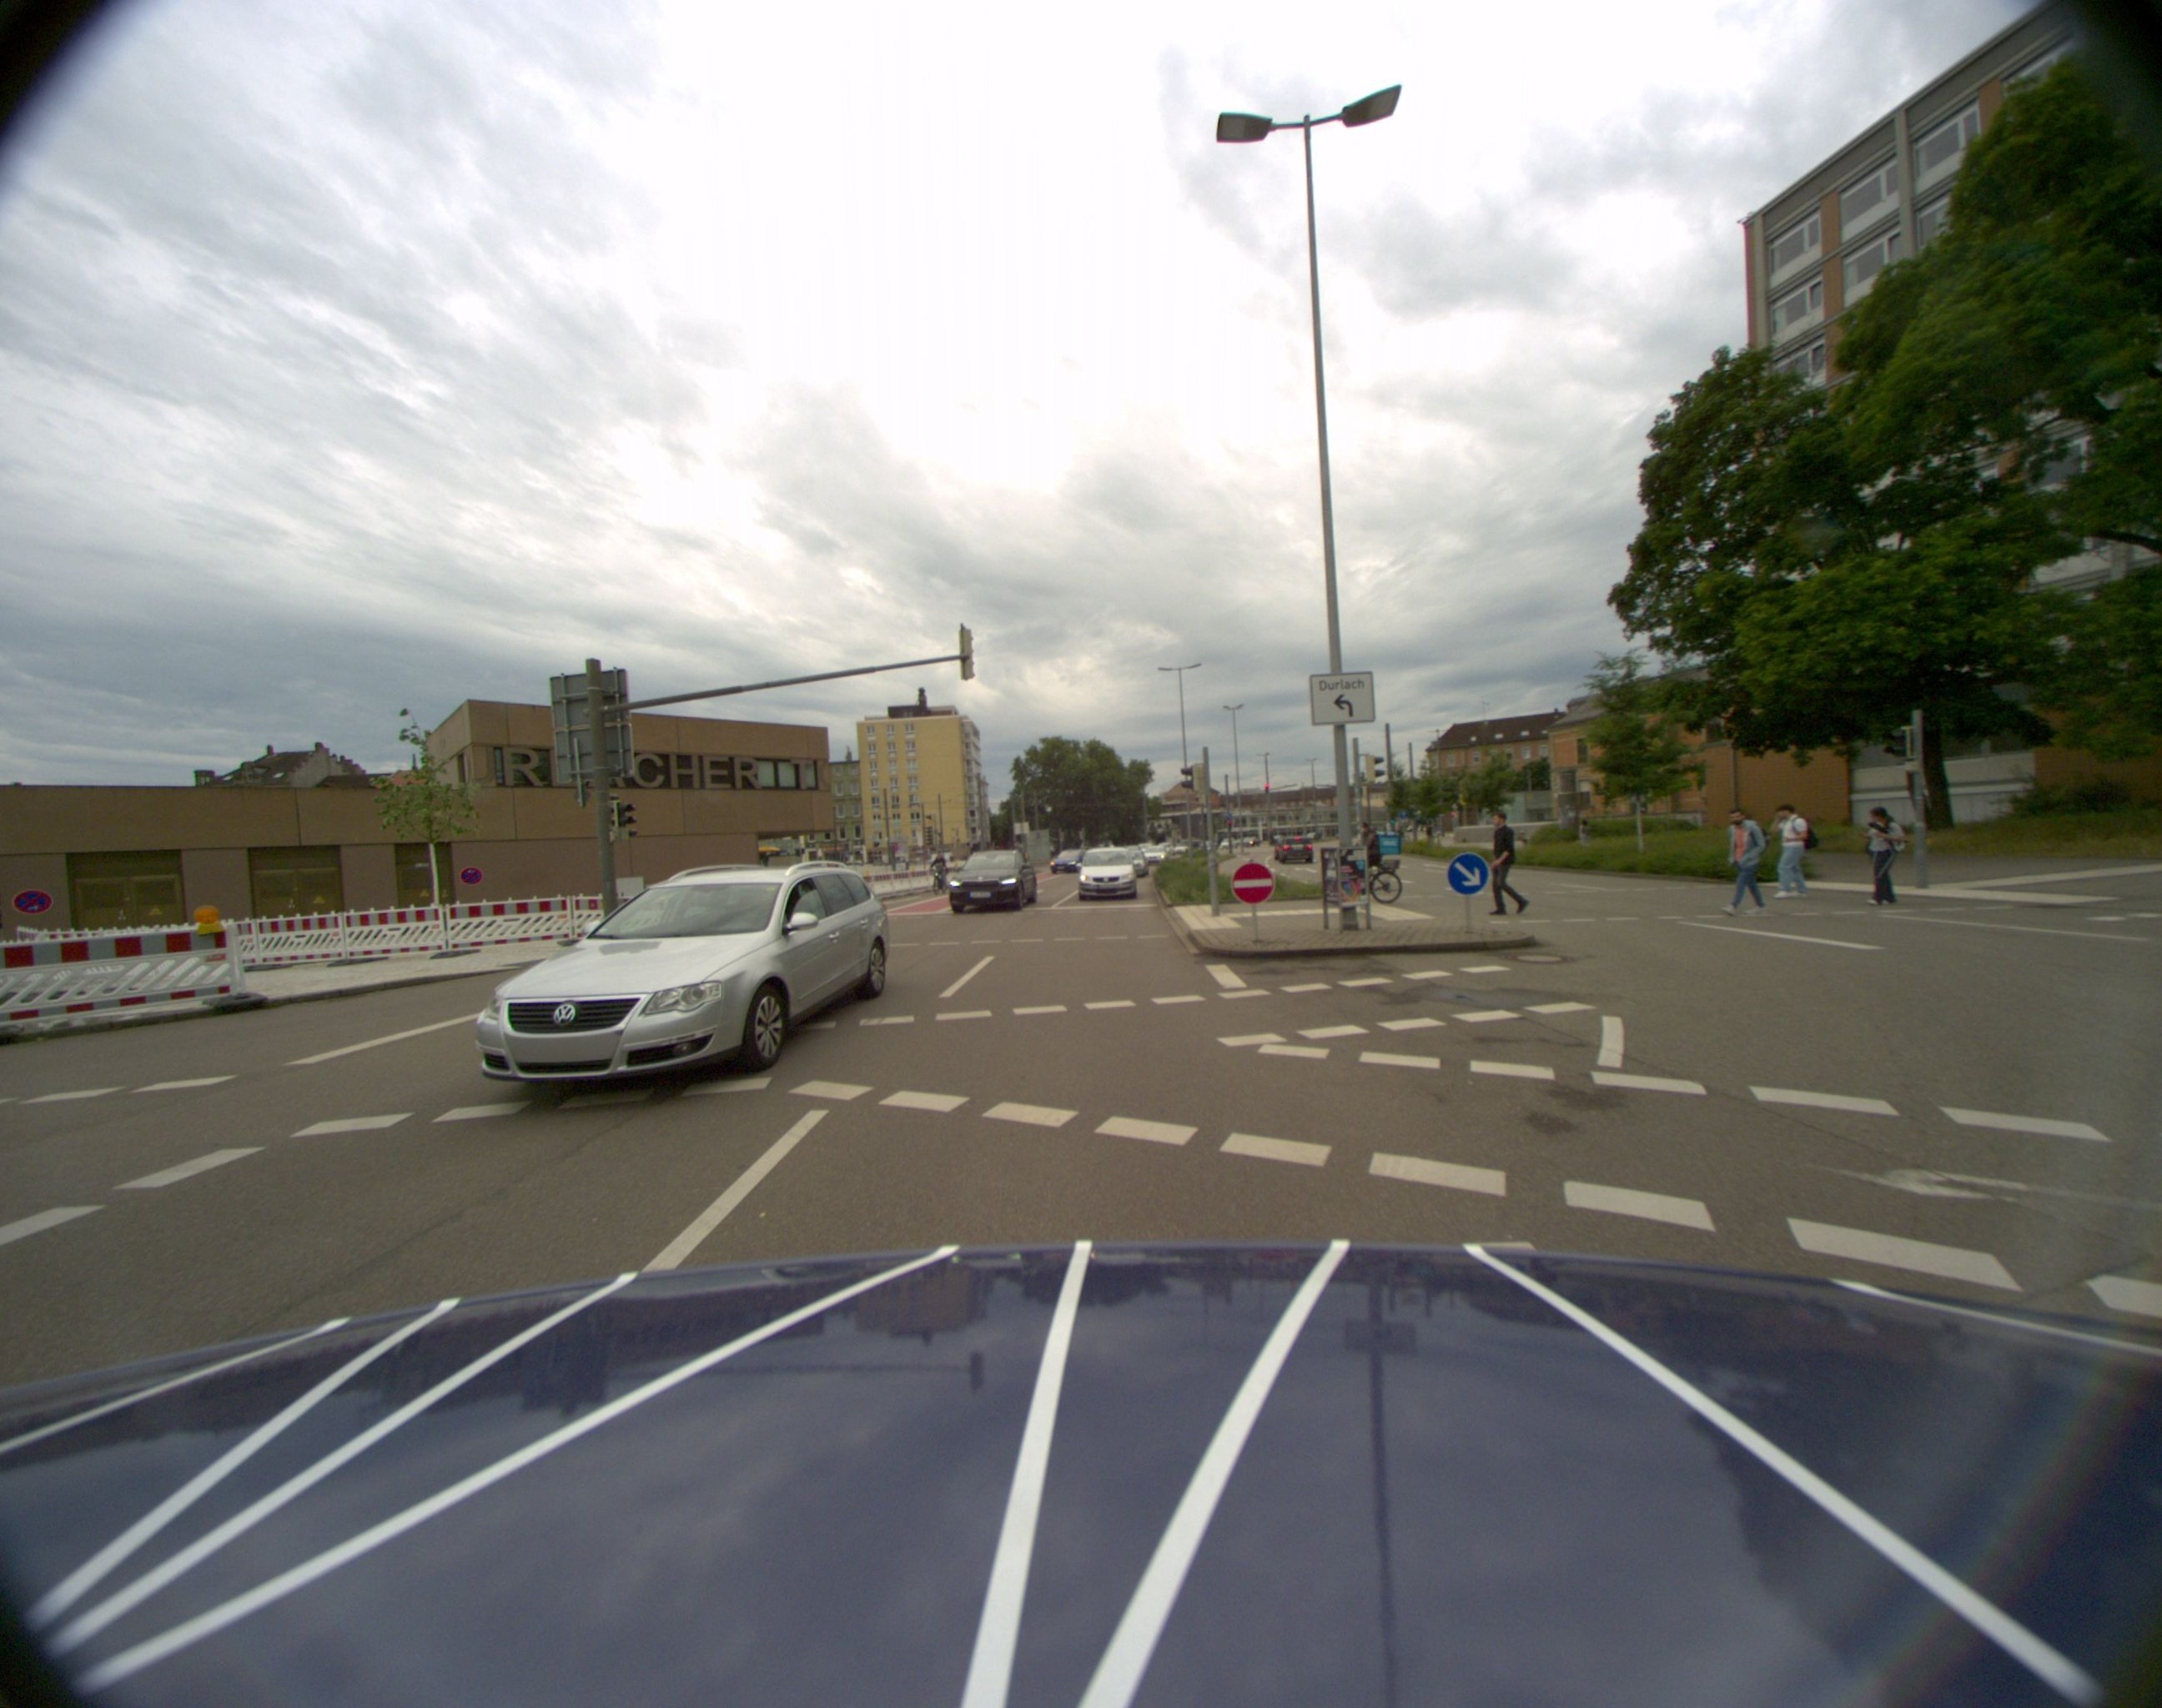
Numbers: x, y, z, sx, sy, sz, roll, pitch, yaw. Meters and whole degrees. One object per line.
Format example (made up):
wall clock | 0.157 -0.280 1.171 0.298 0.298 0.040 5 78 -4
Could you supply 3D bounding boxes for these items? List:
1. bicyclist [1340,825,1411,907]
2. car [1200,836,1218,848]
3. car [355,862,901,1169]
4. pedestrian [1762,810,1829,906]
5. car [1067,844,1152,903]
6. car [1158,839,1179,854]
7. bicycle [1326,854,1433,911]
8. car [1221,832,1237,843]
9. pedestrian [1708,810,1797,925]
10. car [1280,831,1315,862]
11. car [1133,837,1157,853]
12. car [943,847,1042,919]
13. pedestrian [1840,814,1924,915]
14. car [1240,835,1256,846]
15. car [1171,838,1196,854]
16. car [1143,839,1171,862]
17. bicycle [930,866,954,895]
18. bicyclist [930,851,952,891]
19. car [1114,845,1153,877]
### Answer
bicyclist | 6.462 0.249 16.709 1.192 1.726 0.806 -2 1 -5
car | 17.970 -1.655 106.326 1.607 1.587 3.764 -2 1 22
car | -3.109 0.949 6.577 1.829 1.542 4.526 -3 1 2
pedestrian | 13.888 0.075 14.773 0.769 1.794 0.739 -3 1 -31
car | 0.798 0.540 24.249 1.735 1.594 4.101 -5 2 -11
car | 10.132 -0.915 87.886 1.802 1.587 3.763 -2 1 15
bicycle | 6.552 0.614 16.729 2.006 1.136 0.806 -2 1 -5
car | 22.372 -2.494 114.668 1.607 1.587 3.764 -2 1 22
pedestrian | 10.877 0.218 12.328 0.918 1.794 0.540 -2 1 7
car | 13.030 -0.485 45.904 1.814 1.658 3.951 -2 2 13
car | 6.655 -0.947 78.128 1.817 1.466 4.036 -2 1 14
car | -2.356 0.720 21.457 1.911 1.615 4.490 -3 2 4
pedestrian | 13.688 0.174 12.998 0.778 1.658 0.706 -3 1 -18
car | 24.598 -1.981 111.993 1.607 1.587 3.764 -2 1 22
car | 12.717 -0.971 94.297 1.995 1.805 4.006 -2 1 23
car | 5.677 -0.309 56.546 1.785 1.455 3.872 -4 2 8
bicycle | -5.865 1.096 32.076 0.694 1.123 1.867 -2 1 -2
bicyclist | -5.892 0.718 32.029 0.694 1.626 0.884 -2 1 -2
car | 2.894 0.336 41.094 1.725 1.406 4.247 -5 1 8
